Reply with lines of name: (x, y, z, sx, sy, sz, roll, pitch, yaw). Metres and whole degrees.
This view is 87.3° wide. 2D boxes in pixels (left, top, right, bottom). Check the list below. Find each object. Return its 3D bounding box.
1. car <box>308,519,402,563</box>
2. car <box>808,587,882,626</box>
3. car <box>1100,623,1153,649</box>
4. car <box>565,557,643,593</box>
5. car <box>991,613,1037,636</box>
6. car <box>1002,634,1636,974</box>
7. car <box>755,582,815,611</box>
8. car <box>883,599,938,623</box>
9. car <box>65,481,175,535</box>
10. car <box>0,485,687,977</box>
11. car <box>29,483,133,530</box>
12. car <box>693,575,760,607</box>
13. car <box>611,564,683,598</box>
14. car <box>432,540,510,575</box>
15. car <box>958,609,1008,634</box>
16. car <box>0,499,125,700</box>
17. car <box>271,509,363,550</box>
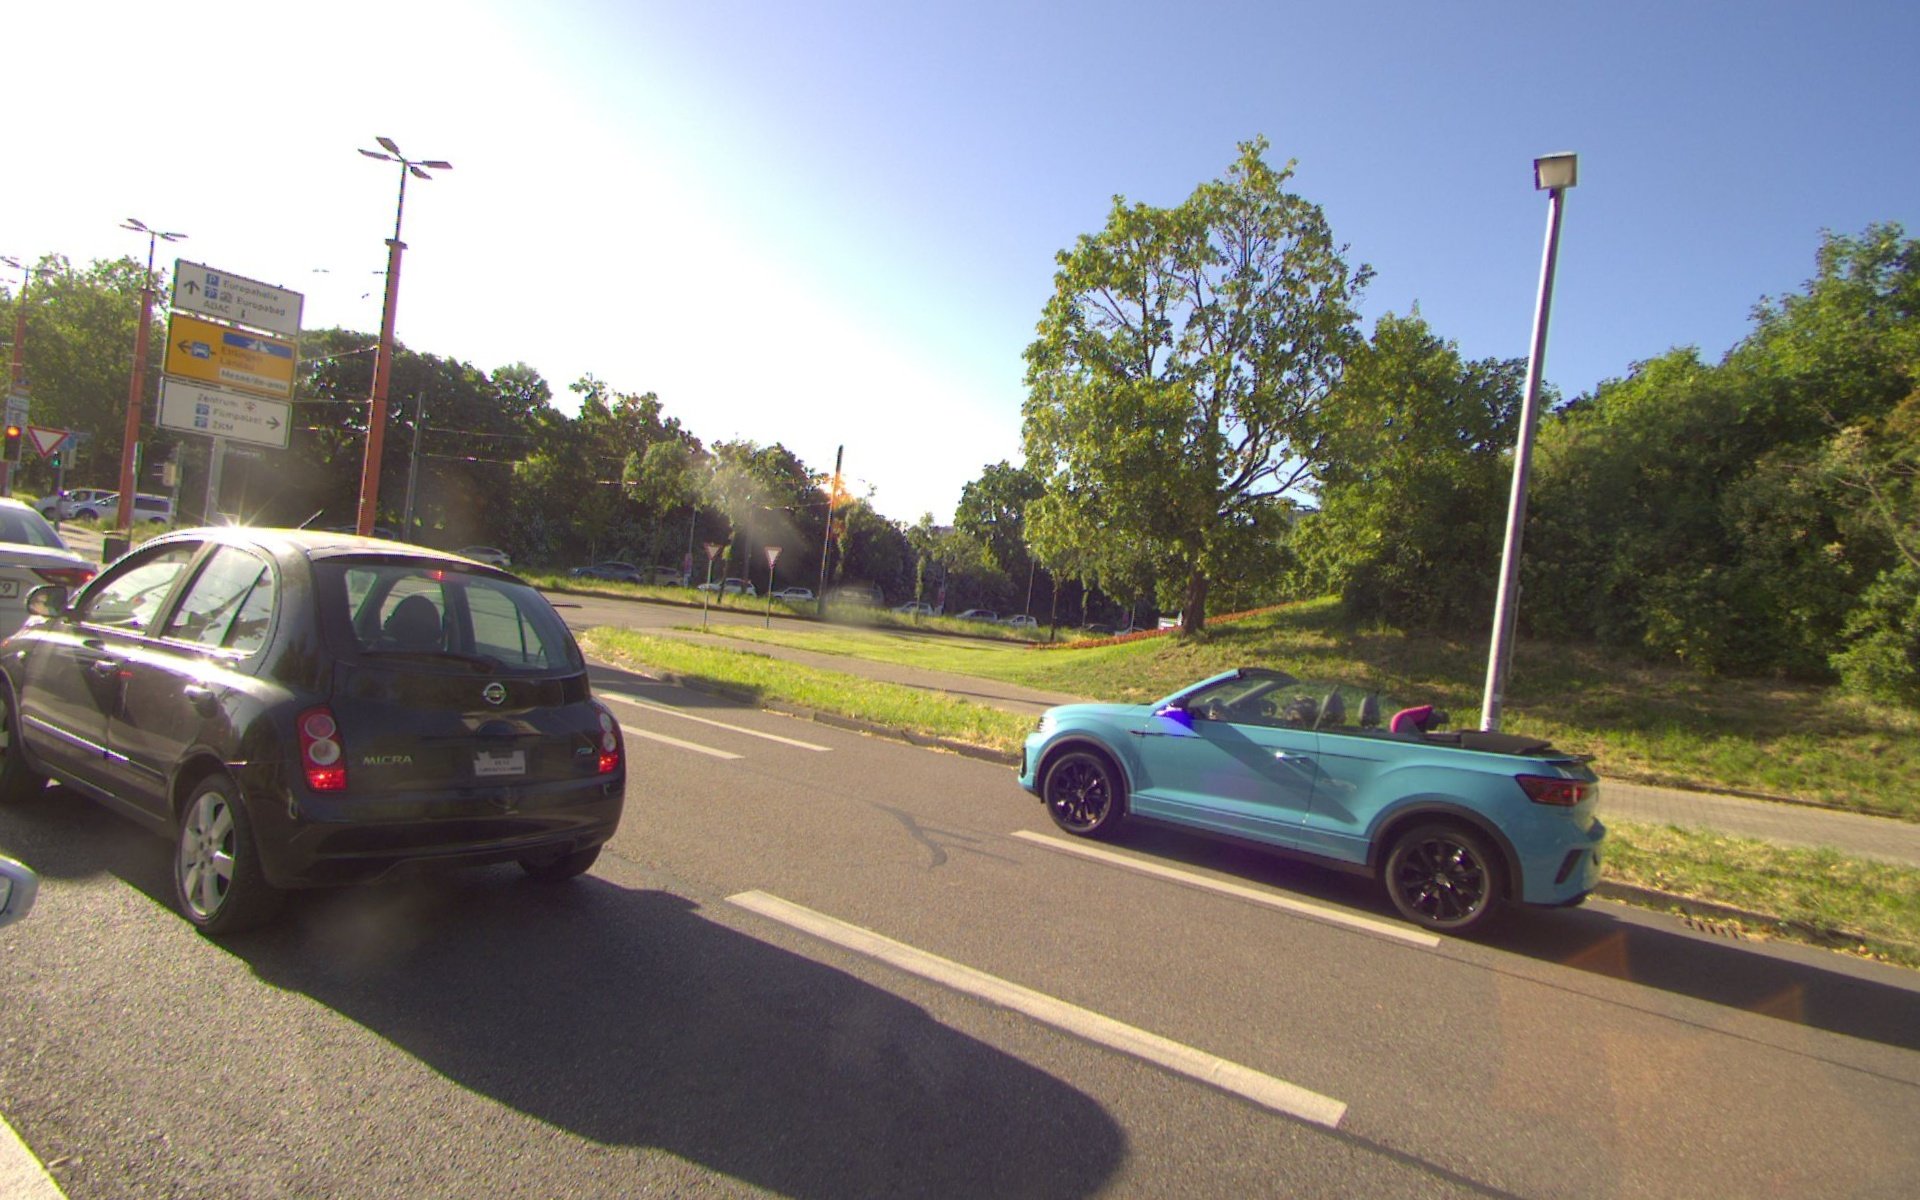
car: (-32.665, -3.151, 54.417, 4.152, 1.663, 1.745, 9, -2, -32)
car: (-7.975, 0.459, 69.615, 4.531, 2.038, 1.987, 8, 0, -27)
car: (14.284, 3.103, 86.166, 4.196, 1.701, 1.690, 8, -1, -29)
car: (-21.693, -1.535, 61.355, 4.089, 1.617, 1.814, 8, -1, -31)
car: (4.307, 1.949, 80.447, 3.413, 1.384, 1.280, 9, -2, -31)
car: (2.554, 1.267, 7.592, 4.067, 1.468, 1.734, 7, 0, 36)
car: (-12.267, -0.218, 70.428, 3.710, 1.491, 1.587, 8, -1, -32)
car: (-3.721, 0.830, 76.121, 3.804, 1.278, 1.590, 9, -3, -32)
car: (-41.121, -4.463, 49.370, 3.812, 1.911, 1.747, 9, -2, -35)
car: (-3.302, 0.401, 4.988, 3.555, 1.518, 1.657, 7, -2, 32)
car: (-44.467, -4.704, 50.995, 3.620, 1.674, 1.666, 9, -2, -33)
car: (-15.143, -0.577, 65.266, 3.790, 1.541, 1.682, 8, -1, -30)
car: (-20.677, -1.278, 66.444, 4.088, 1.663, 1.839, 8, -1, -29)
car: (-29.143, -2.525, 59.971, 3.937, 1.457, 1.674, 9, -2, -31)
car: (1.730, 1.611, 75.305, 3.369, 1.475, 1.453, 8, -1, -31)
car: (-8.806, -0.223, 8.298, 4.130, 1.454, 1.723, 7, -1, 33)
car: (-35.761, -3.867, 56.060, 4.095, 1.528, 1.808, 9, -2, -32)
